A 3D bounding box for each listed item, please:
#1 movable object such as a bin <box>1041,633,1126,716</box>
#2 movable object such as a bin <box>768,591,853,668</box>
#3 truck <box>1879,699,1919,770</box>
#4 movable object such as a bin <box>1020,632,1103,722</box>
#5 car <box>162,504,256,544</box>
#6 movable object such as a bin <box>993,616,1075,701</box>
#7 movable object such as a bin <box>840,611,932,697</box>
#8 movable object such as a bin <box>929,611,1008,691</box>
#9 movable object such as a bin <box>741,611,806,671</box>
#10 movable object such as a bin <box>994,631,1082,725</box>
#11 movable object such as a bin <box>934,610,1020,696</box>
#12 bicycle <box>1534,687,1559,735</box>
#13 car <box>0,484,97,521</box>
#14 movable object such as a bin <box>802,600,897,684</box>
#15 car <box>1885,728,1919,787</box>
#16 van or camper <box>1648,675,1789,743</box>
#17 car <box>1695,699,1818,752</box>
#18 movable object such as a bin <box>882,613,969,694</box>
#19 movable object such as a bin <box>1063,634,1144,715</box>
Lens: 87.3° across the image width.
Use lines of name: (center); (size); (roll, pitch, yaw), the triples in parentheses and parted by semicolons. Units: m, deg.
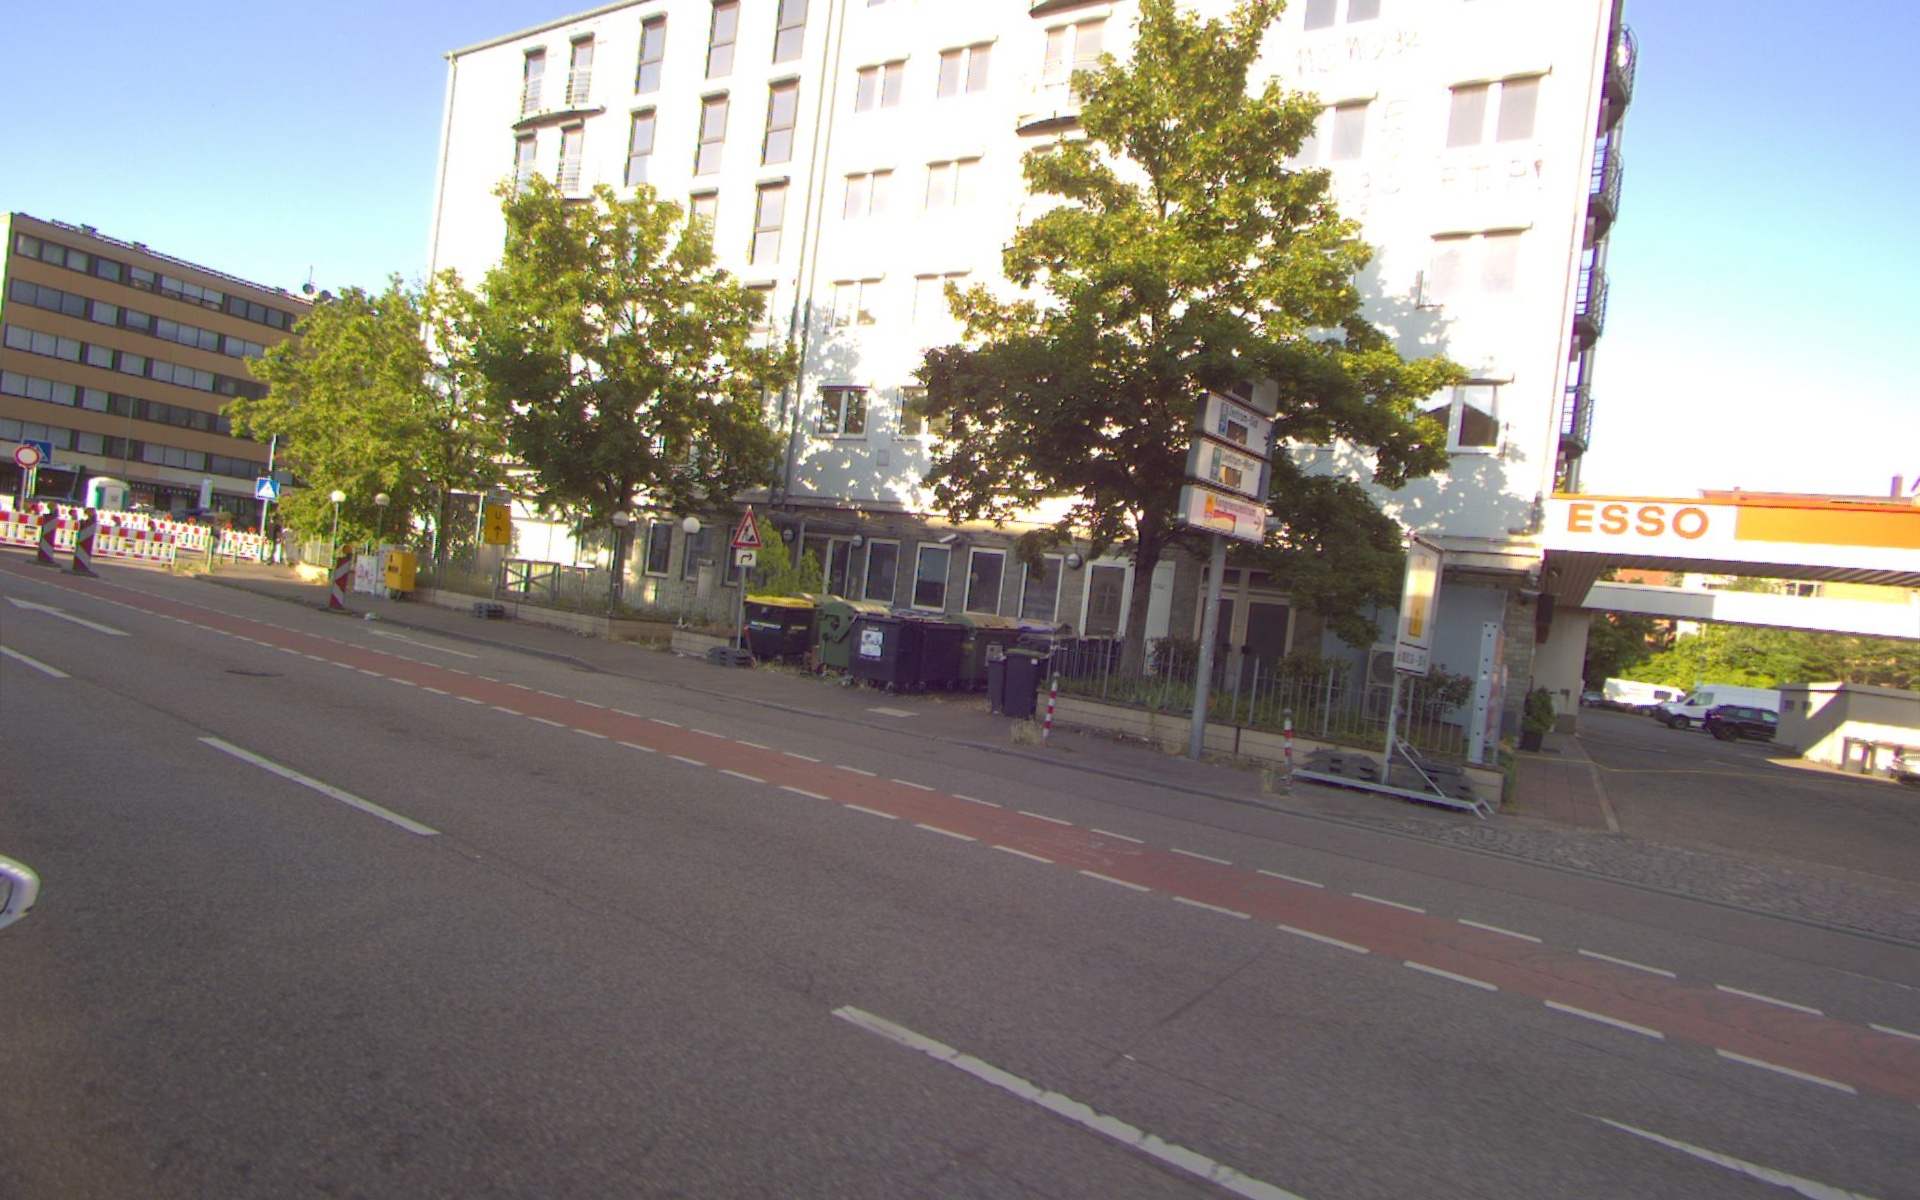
movable object such as a bin: (2.191, 1.313, 17.860); (1.080, 1.299, 0.955); (7, 0, 30)
movable object such as a bin: (-3.193, 0.654, 21.570); (1.087, 1.479, 1.350); (7, 0, 28)
truck: (38.479, 5.410, 38.769); (3.933, 2.591, 1.996); (7, 0, 31)
movable object such as a bin: (1.717, 1.284, 16.896); (0.938, 1.344, 0.955); (7, 0, 30)
car: (-47.405, -4.804, 63.579); (1.968, 1.839, 4.219); (7, 0, 33)
movable object such as a bin: (1.476, 1.166, 19.962); (1.142, 1.517, 1.033); (7, 0, 30)
movable object such as a bin: (-1.292, 0.946, 17.726); (1.142, 1.344, 0.955); (7, 0, 30)
movable object such as a bin: (0.188, 1.081, 21.229); (1.142, 1.517, 1.033); (7, 0, 30)
movable object such as a bin: (-3.696, 0.816, 19.955); (0.806, 1.058, 0.852); (7, 0, 28)
movable object such as a bin: (1.253, 1.230, 16.031); (0.938, 1.344, 0.955); (7, 0, 30)
movable object such as a bin: (0.327, 1.019, 19.289); (1.142, 1.467, 1.033); (7, 0, 30)
bicycle: (14.931, 2.802, 25.590); (0.418, 1.117, 1.968); (7, 0, 31)
car: (-52.615, -5.608, 57.941); (1.756, 1.437, 3.996); (7, -1, 27)
movable object such as a bin: (-2.106, 0.811, 19.295); (1.087, 1.441, 1.350); (7, 0, 28)
car: (27.439, 4.471, 26.638); (3.936, 1.482, 1.995); (7, 0, 34)
van or camper: (39.375, 5.607, 52.434); (5.250, 2.722, 2.206); (7, 0, 26)
car: (34.722, 5.445, 43.972); (3.831, 1.628, 1.685); (7, -2, 30)
movable object such as a bin: (-0.639, 0.989, 18.622); (1.142, 1.344, 0.955); (7, 0, 30)
movable object such as a bin: (2.679, 1.382, 18.728); (1.080, 1.344, 0.955); (7, 0, 30)
